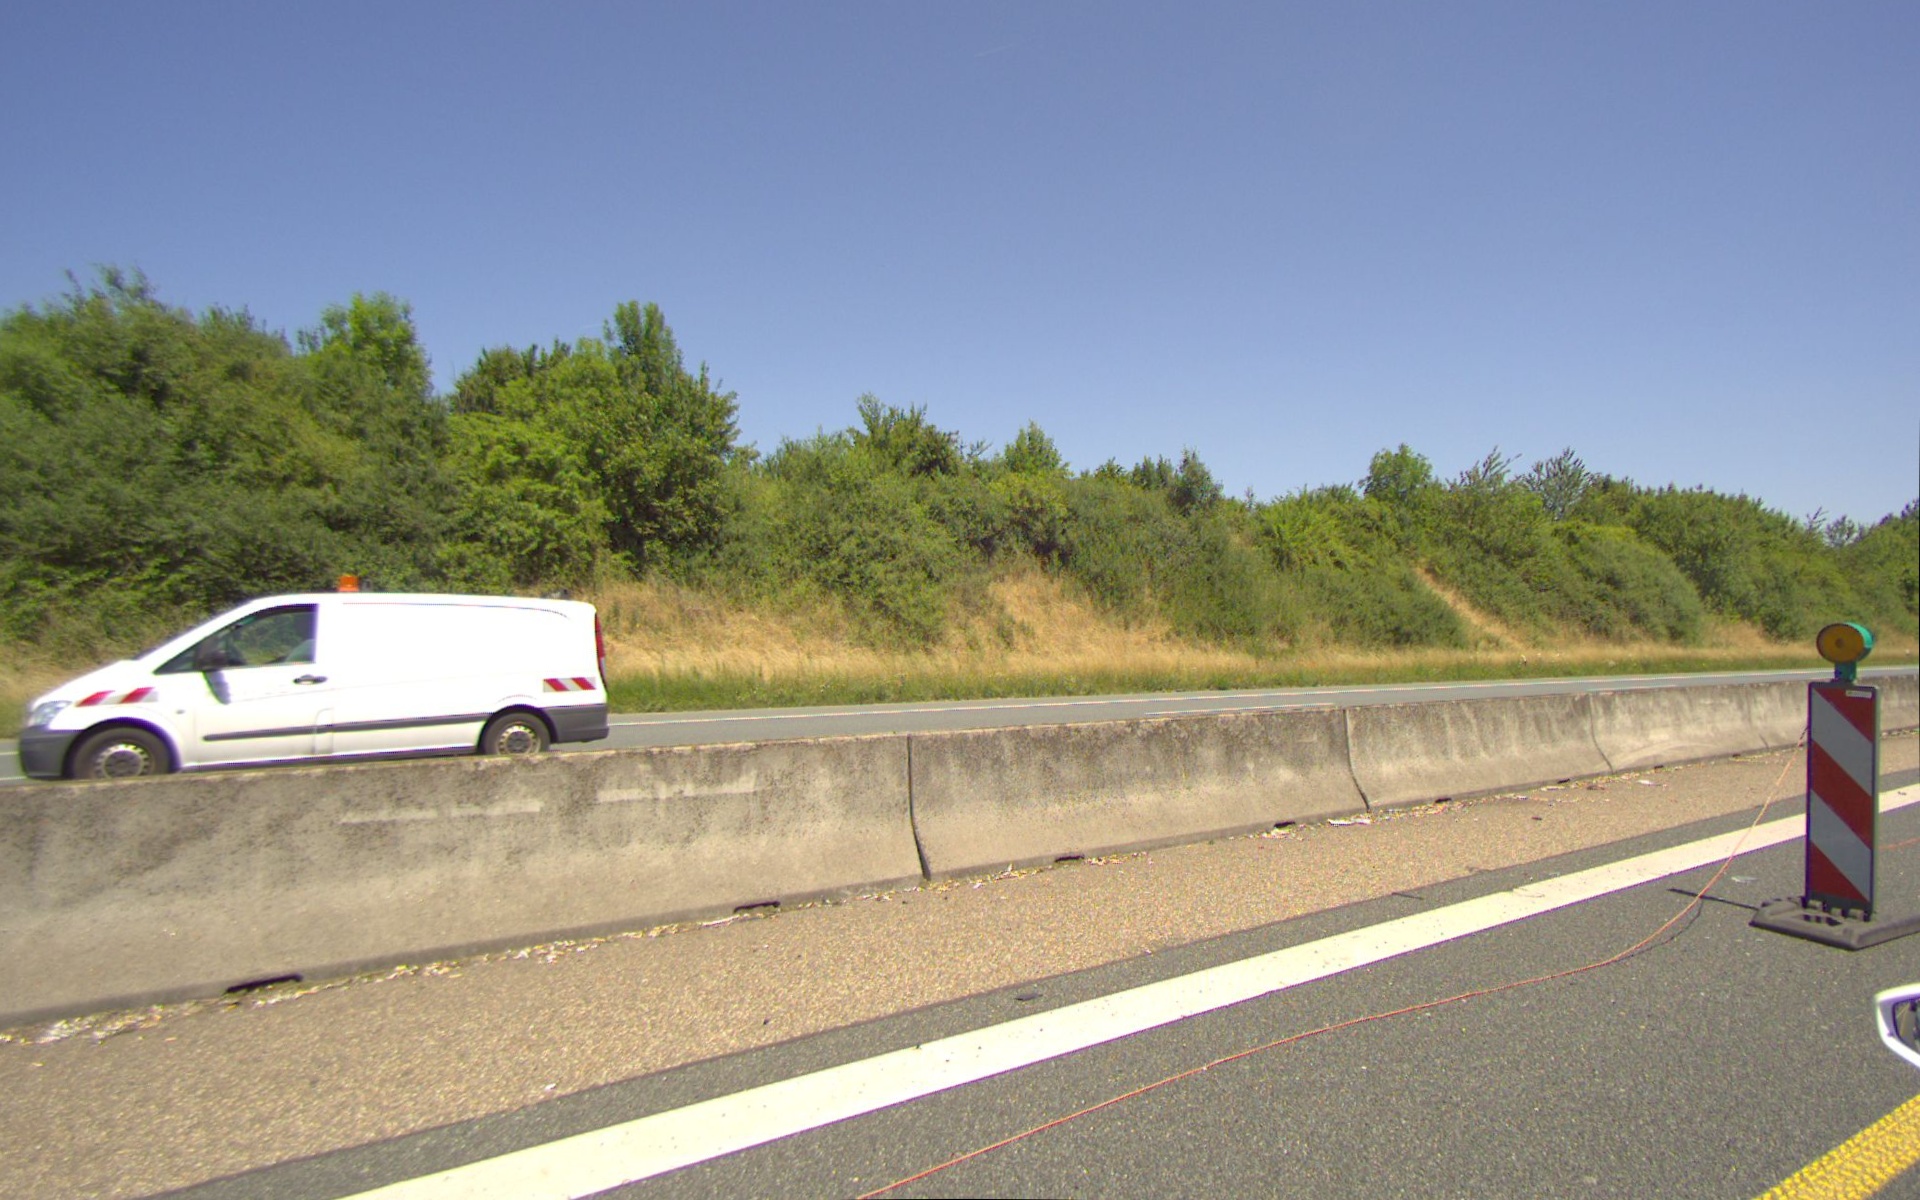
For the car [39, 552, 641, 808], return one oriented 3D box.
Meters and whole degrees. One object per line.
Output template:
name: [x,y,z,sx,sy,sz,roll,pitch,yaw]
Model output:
car: [-6.061,0.730,10.465,4.886,2.112,1.952,1,-2,-34]
